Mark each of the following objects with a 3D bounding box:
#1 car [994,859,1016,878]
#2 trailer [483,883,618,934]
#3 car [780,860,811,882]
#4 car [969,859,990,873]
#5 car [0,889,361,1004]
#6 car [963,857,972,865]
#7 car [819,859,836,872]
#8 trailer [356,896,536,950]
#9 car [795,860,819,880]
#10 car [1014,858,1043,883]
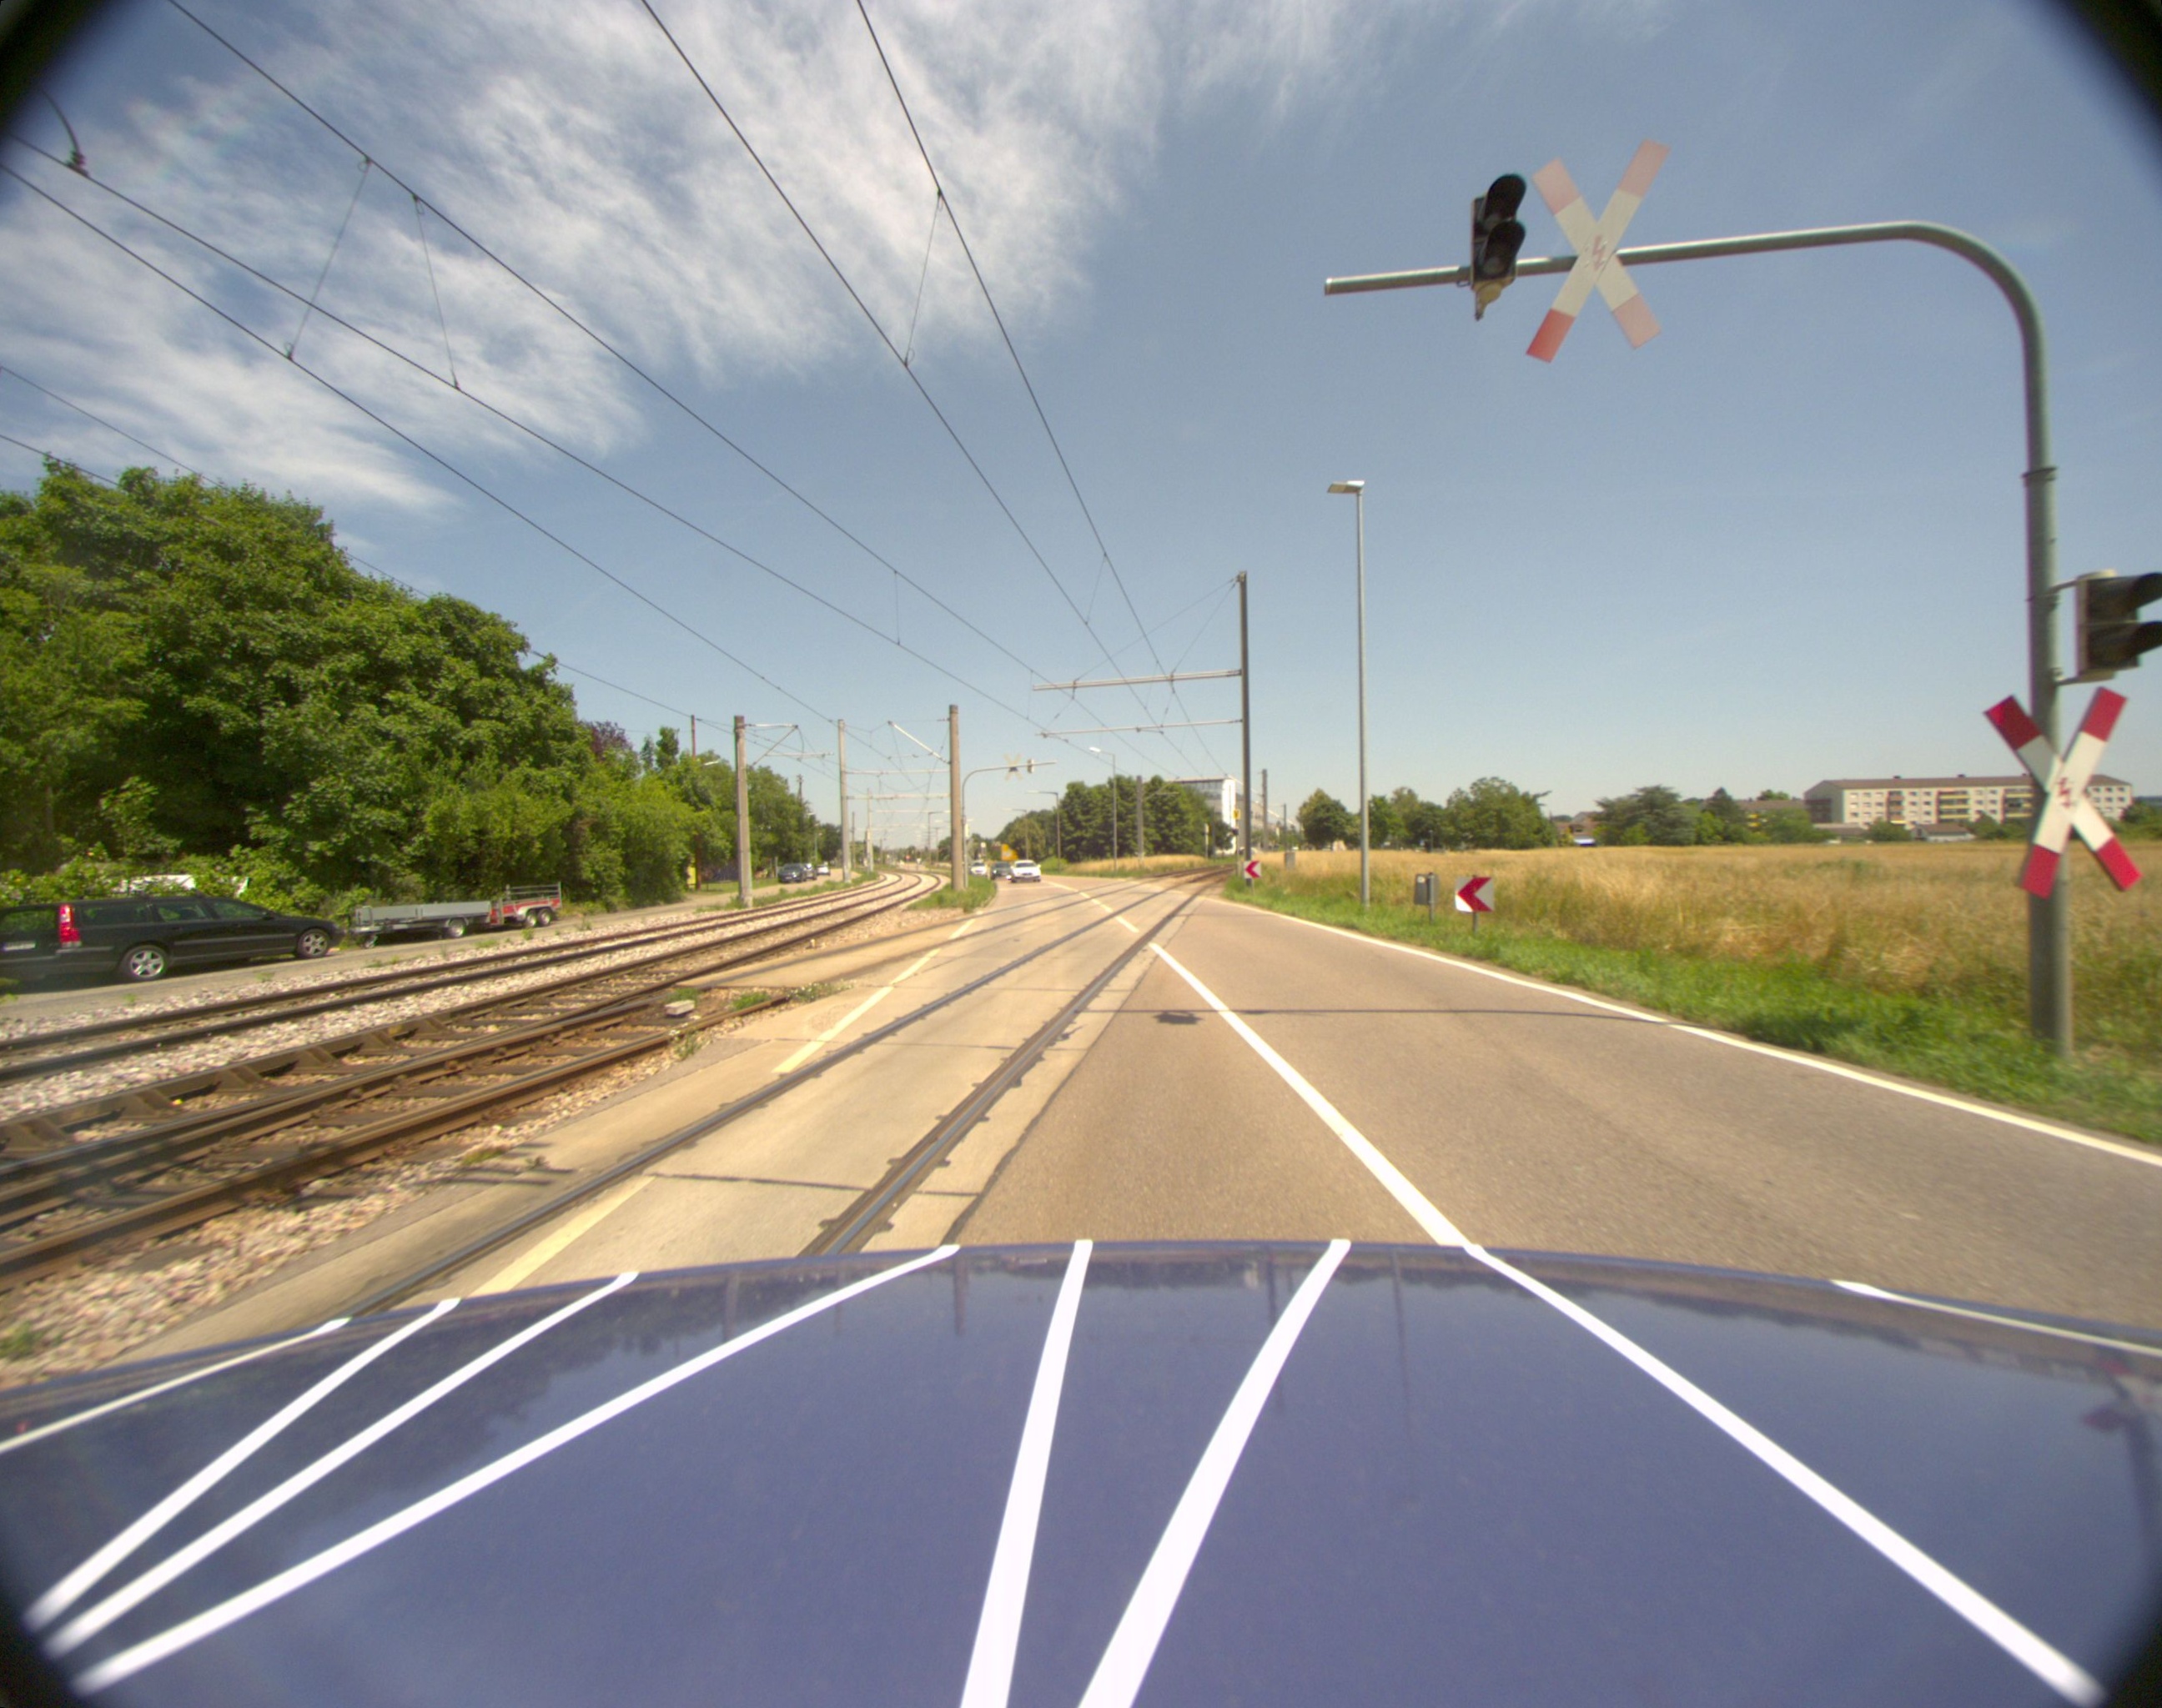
[{"bbox_3d":[-6.465,1.187,64.139,1.511,1.423,3.354,-2,2,-12],"label":"car"},{"bbox_3d":[-16.713,1.679,24.194,1.465,1.215,3.998,-1,1,-1],"label":"trailer"},{"bbox_3d":[-24.436,1.403,65.205,1.834,1.647,4.809,-2,2,-13],"label":"car"},{"bbox_3d":[-11.702,1.403,87.598,1.812,1.465,3.506,-2,2,-17],"label":"car"},{"bbox_3d":[-16.418,1.530,13.996,1.801,1.418,4.738,-1,1,-1],"label":"car"},{"bbox_3d":[-25.695,1.565,172.086,1.833,1.592,4.479,-2,0,-12],"label":"car"},{"bbox_3d":[-31.296,1.359,93.914,1.686,1.406,4.543,-2,2,-15],"label":"car"},{"bbox_3d":[-16.619,1.771,20.174,1.423,0.989,4.000,-4,0,-1],"label":"trailer"},{"bbox_3d":[-25.633,1.467,71.155,1.683,1.615,4.704,-2,2,-16],"label":"car"},{"bbox_3d":[-3.513,1.083,50.340,1.772,1.434,4.126,-1,2,-6],"label":"car"}]
